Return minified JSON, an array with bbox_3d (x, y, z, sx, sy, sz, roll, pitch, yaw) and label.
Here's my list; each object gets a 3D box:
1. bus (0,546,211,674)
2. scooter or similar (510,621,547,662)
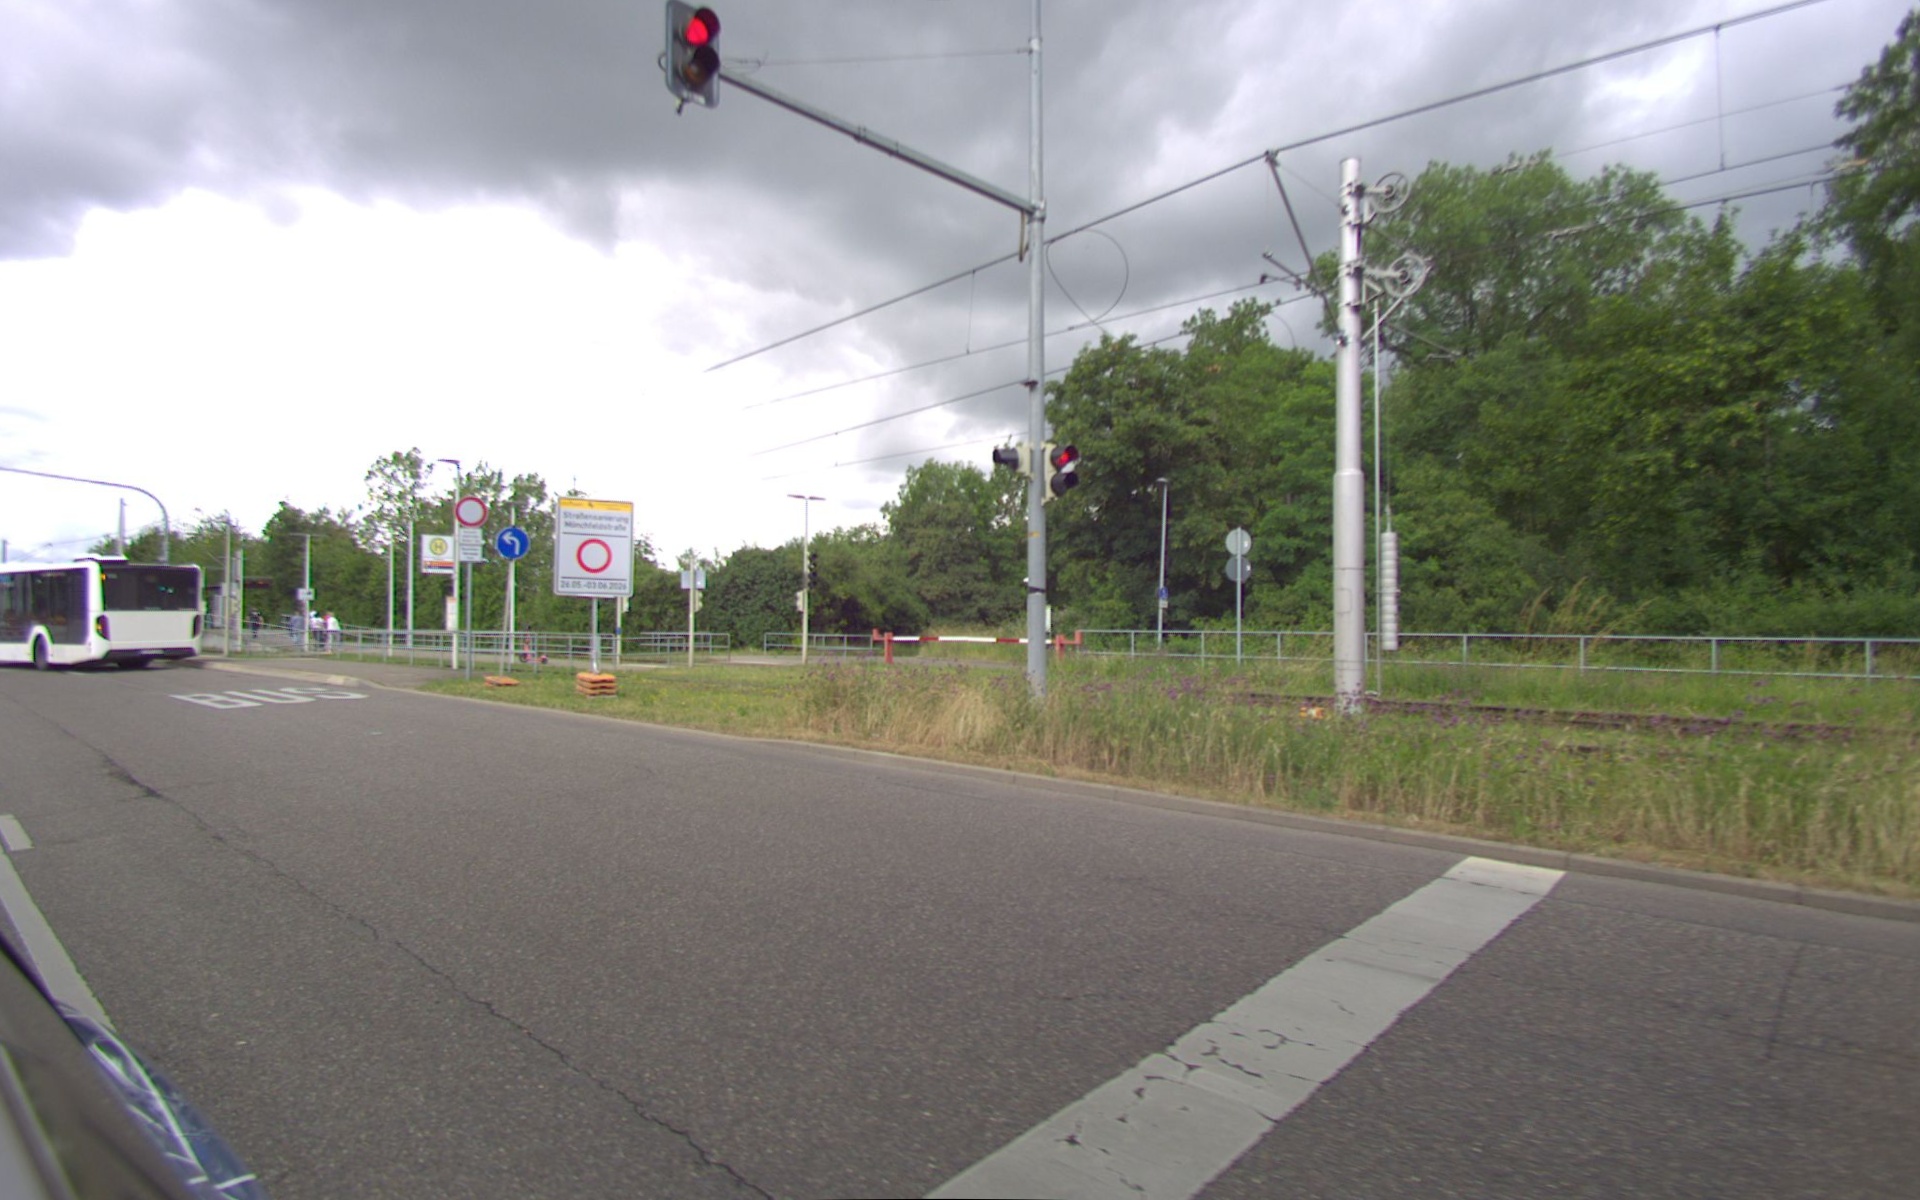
[{"bbox_3d":[-26.647,0.316,29.759,12.146,3.227,2.649,-1,-1,29],"label":"bus"},{"bbox_3d":[-13.611,1.300,31.896,1.264,1.281,0.407,-1,-2,31],"label":"scooter or similar"}]
